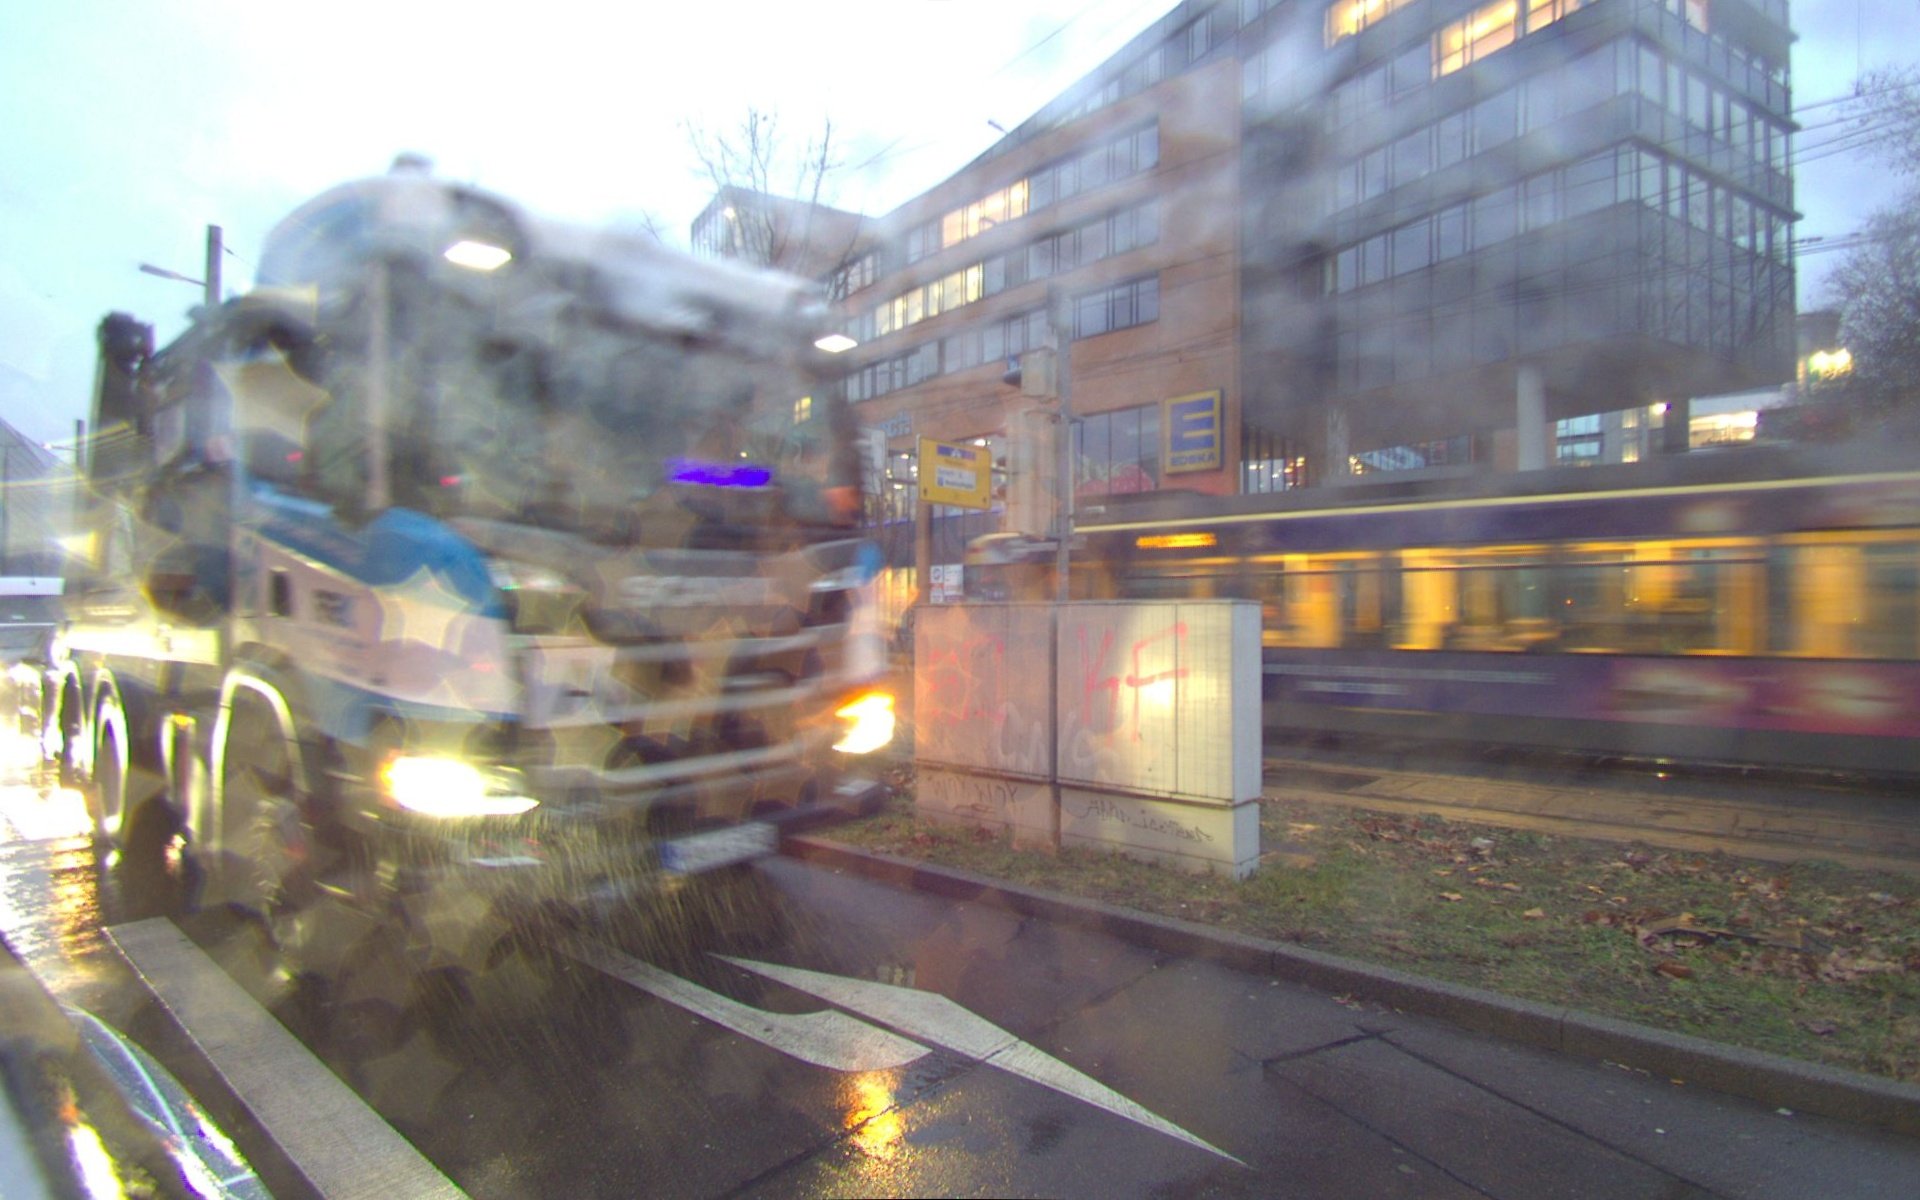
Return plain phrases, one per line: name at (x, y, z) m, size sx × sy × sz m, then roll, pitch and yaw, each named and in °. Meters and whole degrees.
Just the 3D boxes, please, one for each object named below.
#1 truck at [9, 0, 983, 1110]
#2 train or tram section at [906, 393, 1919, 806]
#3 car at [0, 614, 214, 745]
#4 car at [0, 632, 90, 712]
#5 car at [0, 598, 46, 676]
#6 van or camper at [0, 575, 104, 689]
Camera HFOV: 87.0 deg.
truck at (-3.637, -0.238, 6.558) m, size 7.521 × 3.661 × 2.810 m, roll -1°, pitch -2°, yaw 40°
train or tram section at (7.690, 0.060, 11.441) m, size 20.054 × 3.642 × 2.835 m, roll -1°, pitch -2°, yaw 40°
car at (-11.721, 0.984, 13.830) m, size 3.939 × 1.535 × 1.613 m, roll -1°, pitch -2°, yaw 41°
car at (-17.951, 1.309, 19.239) m, size 4.057 × 1.355 × 1.735 m, roll -1°, pitch -2°, yaw 43°
car at (-37.711, 1.435, 39.606) m, size 5.809 × 2.885 × 2.102 m, roll -1°, pitch -2°, yaw 40°
van or camper at (-23.264, 0.784, 25.114) m, size 5.894 × 2.551 × 2.126 m, roll -1°, pitch -2°, yaw 40°
